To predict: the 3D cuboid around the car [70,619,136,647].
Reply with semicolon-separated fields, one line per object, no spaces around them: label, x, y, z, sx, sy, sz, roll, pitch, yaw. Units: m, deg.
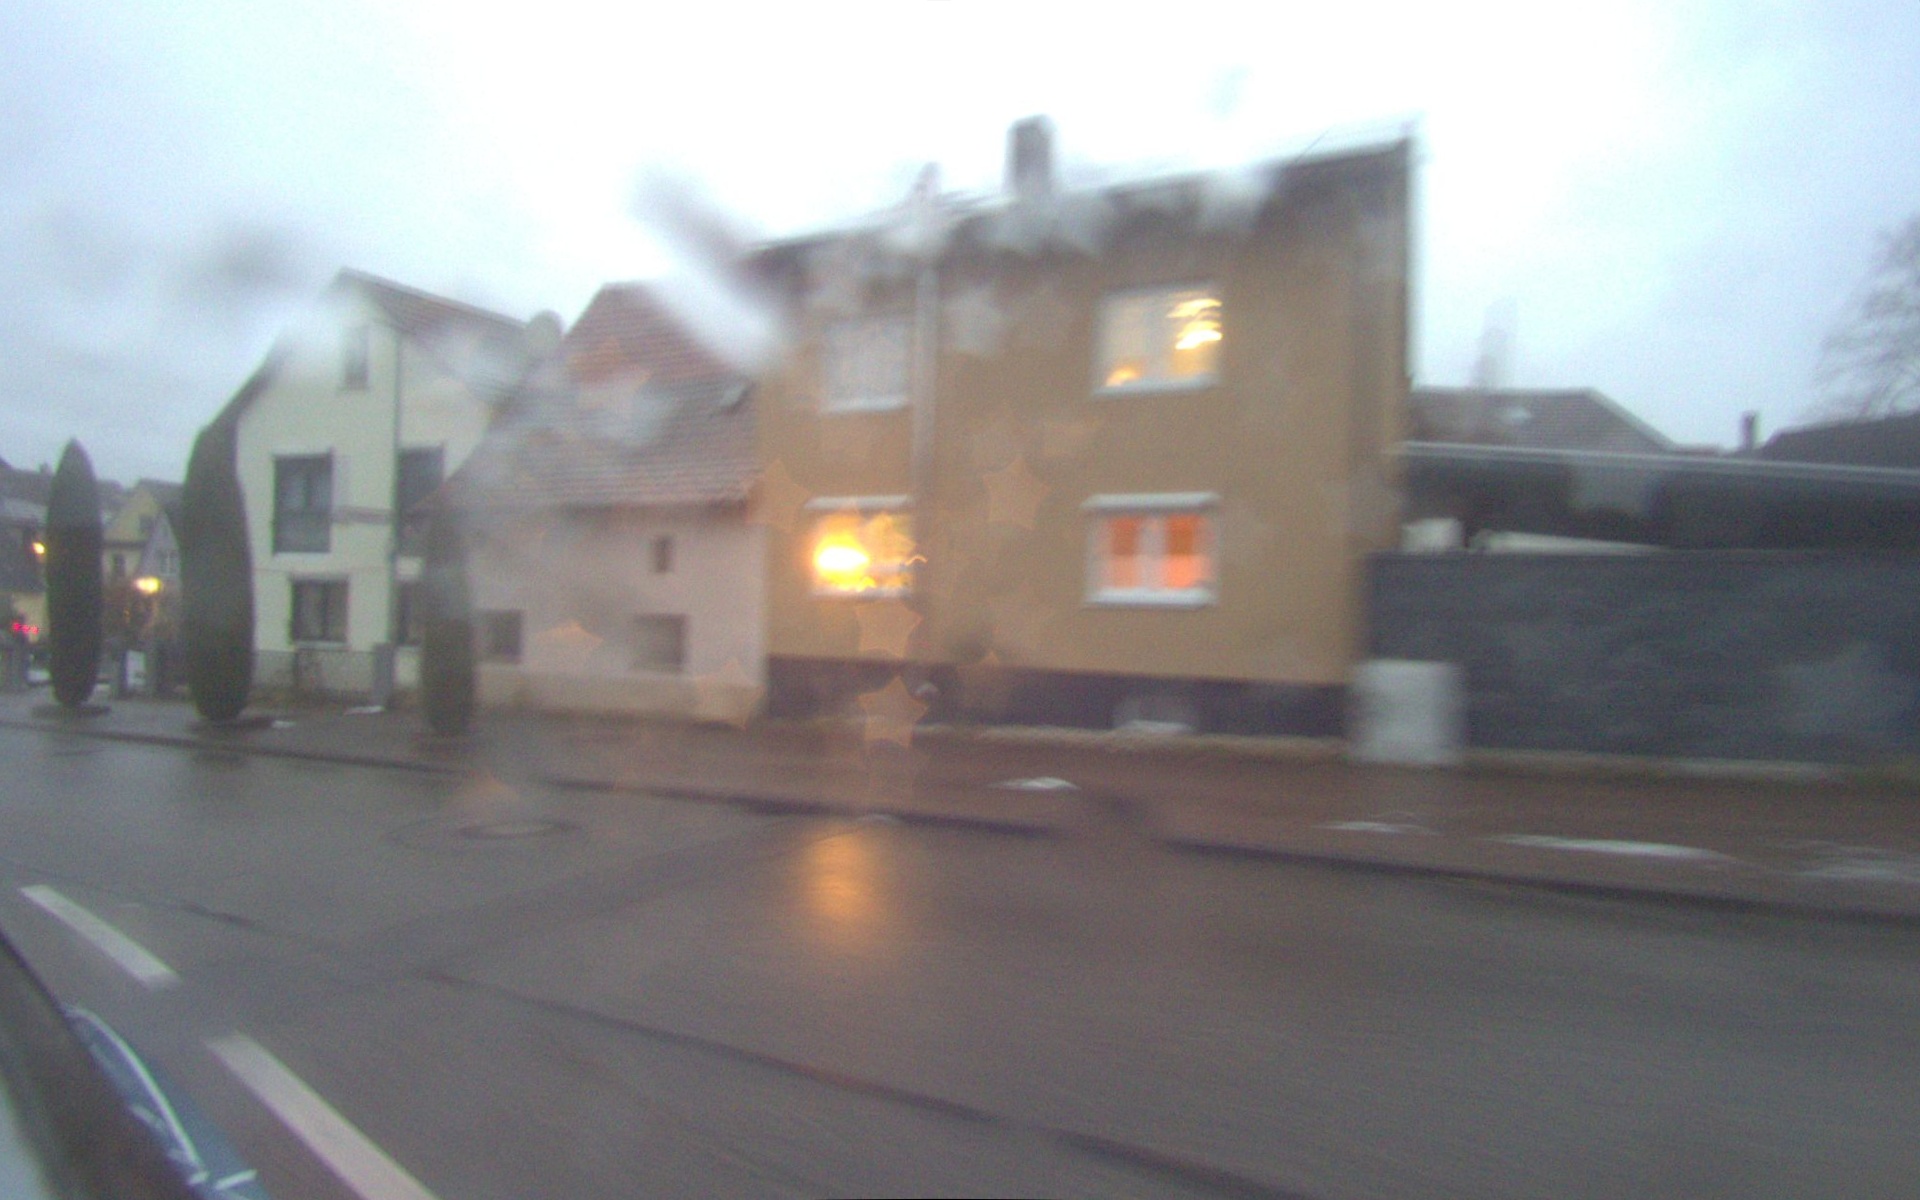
car;-54.036;2.098;63.815;3.467;1.517;1.638;4;-1;21
